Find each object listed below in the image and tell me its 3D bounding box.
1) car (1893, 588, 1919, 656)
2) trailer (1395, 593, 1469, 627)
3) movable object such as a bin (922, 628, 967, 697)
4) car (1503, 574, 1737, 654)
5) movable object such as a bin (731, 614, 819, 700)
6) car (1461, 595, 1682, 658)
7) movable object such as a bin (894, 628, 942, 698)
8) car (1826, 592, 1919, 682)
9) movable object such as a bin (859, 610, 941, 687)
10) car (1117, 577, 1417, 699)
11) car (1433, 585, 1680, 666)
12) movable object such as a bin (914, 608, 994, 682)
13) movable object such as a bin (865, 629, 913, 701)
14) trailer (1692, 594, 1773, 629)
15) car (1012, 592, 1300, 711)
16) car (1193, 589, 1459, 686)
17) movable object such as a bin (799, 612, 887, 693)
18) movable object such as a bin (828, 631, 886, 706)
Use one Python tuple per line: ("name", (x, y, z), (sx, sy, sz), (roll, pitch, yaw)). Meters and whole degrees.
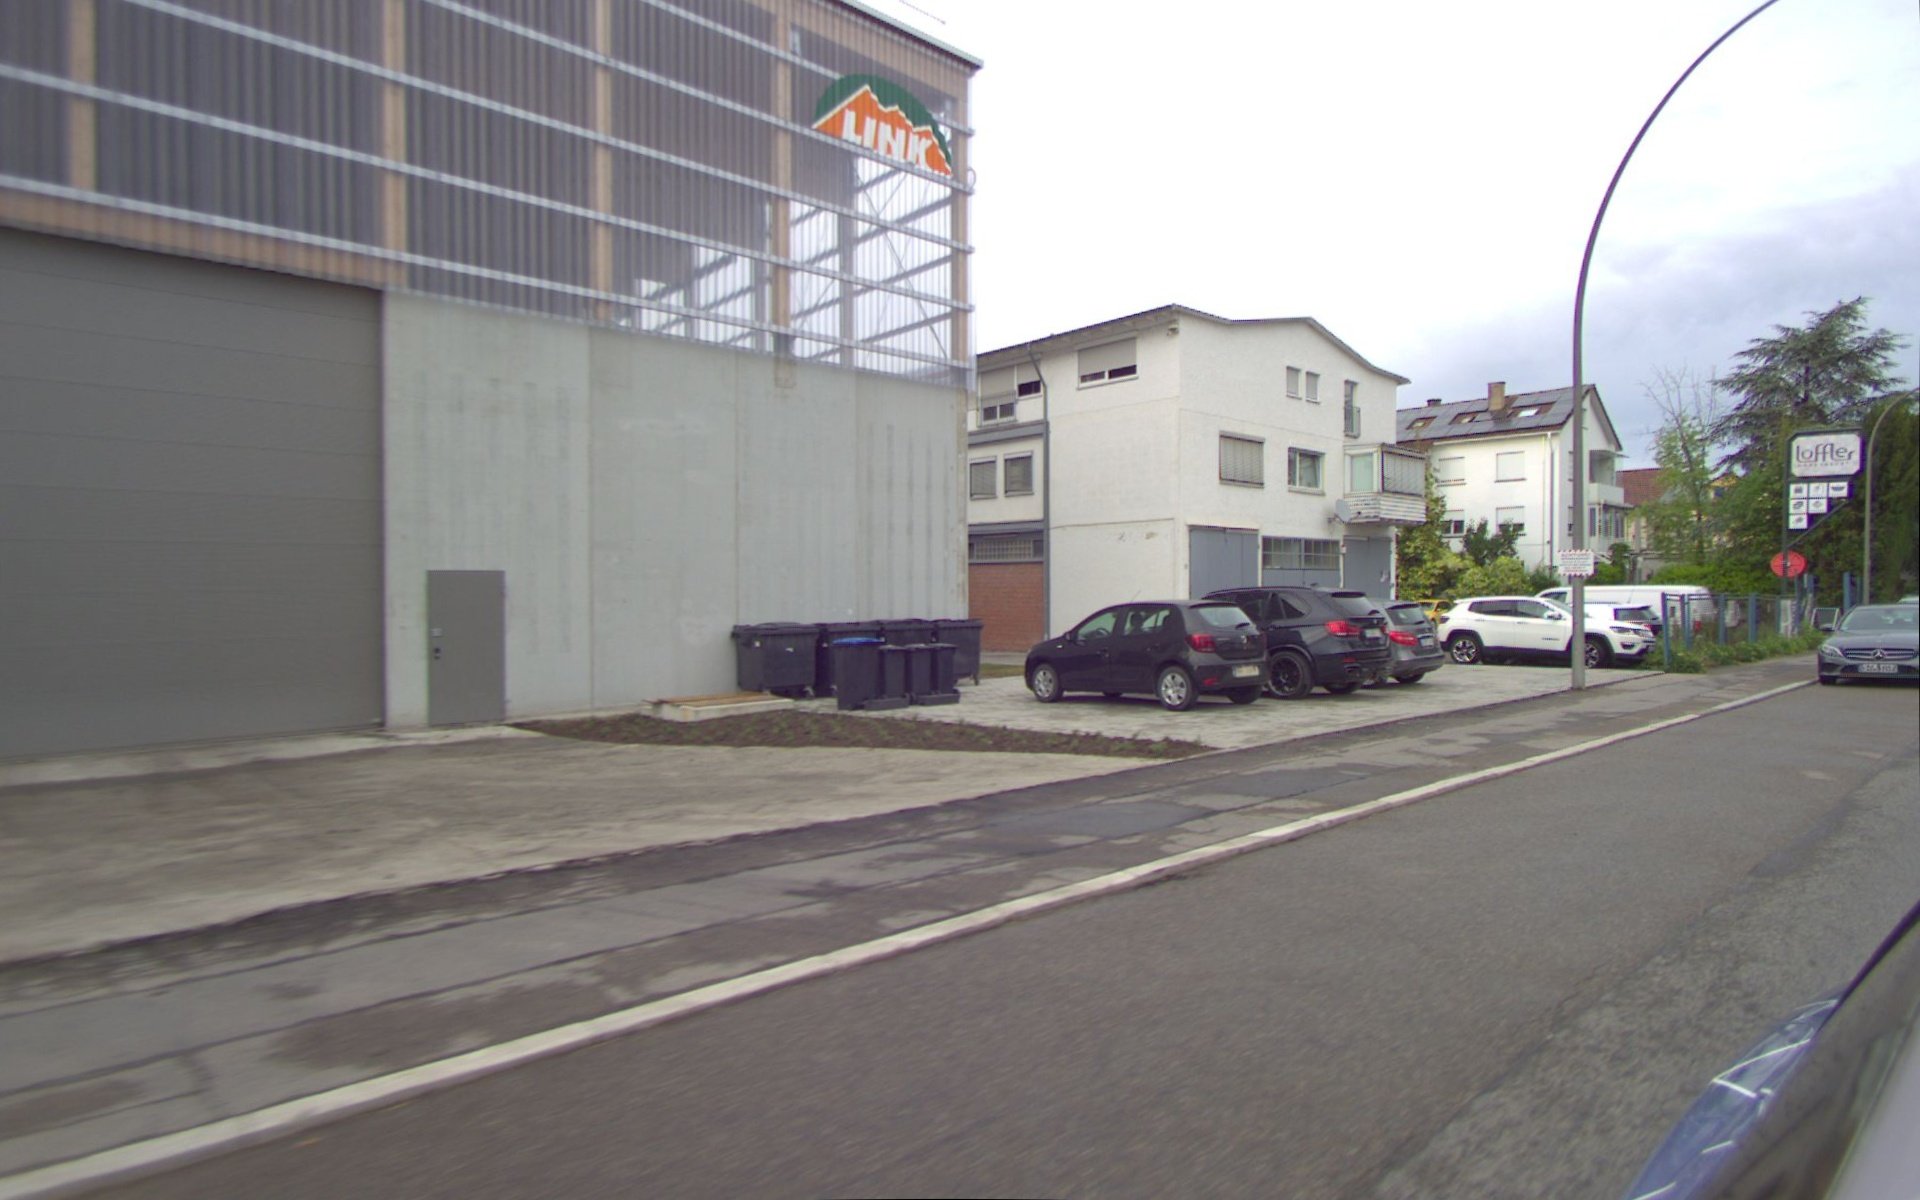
("car", (25.041, 0.498, 25.437), (4.295, 1.642, 1.742), (-1, -1, -39))
("trailer", (22.173, 0.443, 47.522), (4.024, 1.483, 1.643), (-1, -1, -41))
("movable object such as a bin", (-0.257, 0.996, 16.385), (0.496, 1.068, 0.518), (-1, -1, -40))
("car", (17.140, 0.357, 26.490), (1.965, 1.910, 4.739), (-1, -1, -40))
("movable object such as a bin", (-3.130, 0.936, 17.145), (1.192, 1.357, 0.839), (-1, -1, -40))
("car", (15.008, 0.630, 25.014), (1.818, 1.396, 4.325), (-1, 0, -41))
("movable object such as a bin", (-0.667, 0.986, 16.042), (0.543, 1.068, 0.496), (-1, -1, -40))
("car", (17.596, 0.606, 18.793), (4.469, 1.485, 1.740), (-1, 0, -43))
("movable object such as a bin", (-1.125, 0.874, 18.890), (1.262, 1.357, 0.839), (-1, -1, -40))
("car", (4.833, 0.555, 16.372), (1.948, 1.696, 4.230), (-1, -1, -43))
("car", (13.383, 0.551, 22.914), (1.861, 1.645, 4.451), (-1, -1, -41))
("movable object such as a bin", (-0.119, 0.854, 19.760), (1.307, 1.357, 0.839), (-1, -1, -40))
("movable object such as a bin", (-1.105, 0.995, 15.675), (0.534, 1.068, 0.513), (-1, -1, -40))
("trailer", (30.362, 0.424, 39.748), (3.821, 1.291, 1.619), (-1, 0, -38))
("car", (2.777, 0.675, 15.056), (1.800, 1.509, 3.974), (0, 0, -39))
("car", (6.577, 0.667, 18.578), (1.780, 1.555, 4.249), (-1, -1, -40))
("movable object such as a bin", (-2.075, 0.902, 17.978), (1.298, 1.357, 0.839), (-1, -1, -40))
("movable object such as a bin", (-1.556, 1.015, 15.289), (0.633, 1.068, 0.575), (-1, -1, -40))
